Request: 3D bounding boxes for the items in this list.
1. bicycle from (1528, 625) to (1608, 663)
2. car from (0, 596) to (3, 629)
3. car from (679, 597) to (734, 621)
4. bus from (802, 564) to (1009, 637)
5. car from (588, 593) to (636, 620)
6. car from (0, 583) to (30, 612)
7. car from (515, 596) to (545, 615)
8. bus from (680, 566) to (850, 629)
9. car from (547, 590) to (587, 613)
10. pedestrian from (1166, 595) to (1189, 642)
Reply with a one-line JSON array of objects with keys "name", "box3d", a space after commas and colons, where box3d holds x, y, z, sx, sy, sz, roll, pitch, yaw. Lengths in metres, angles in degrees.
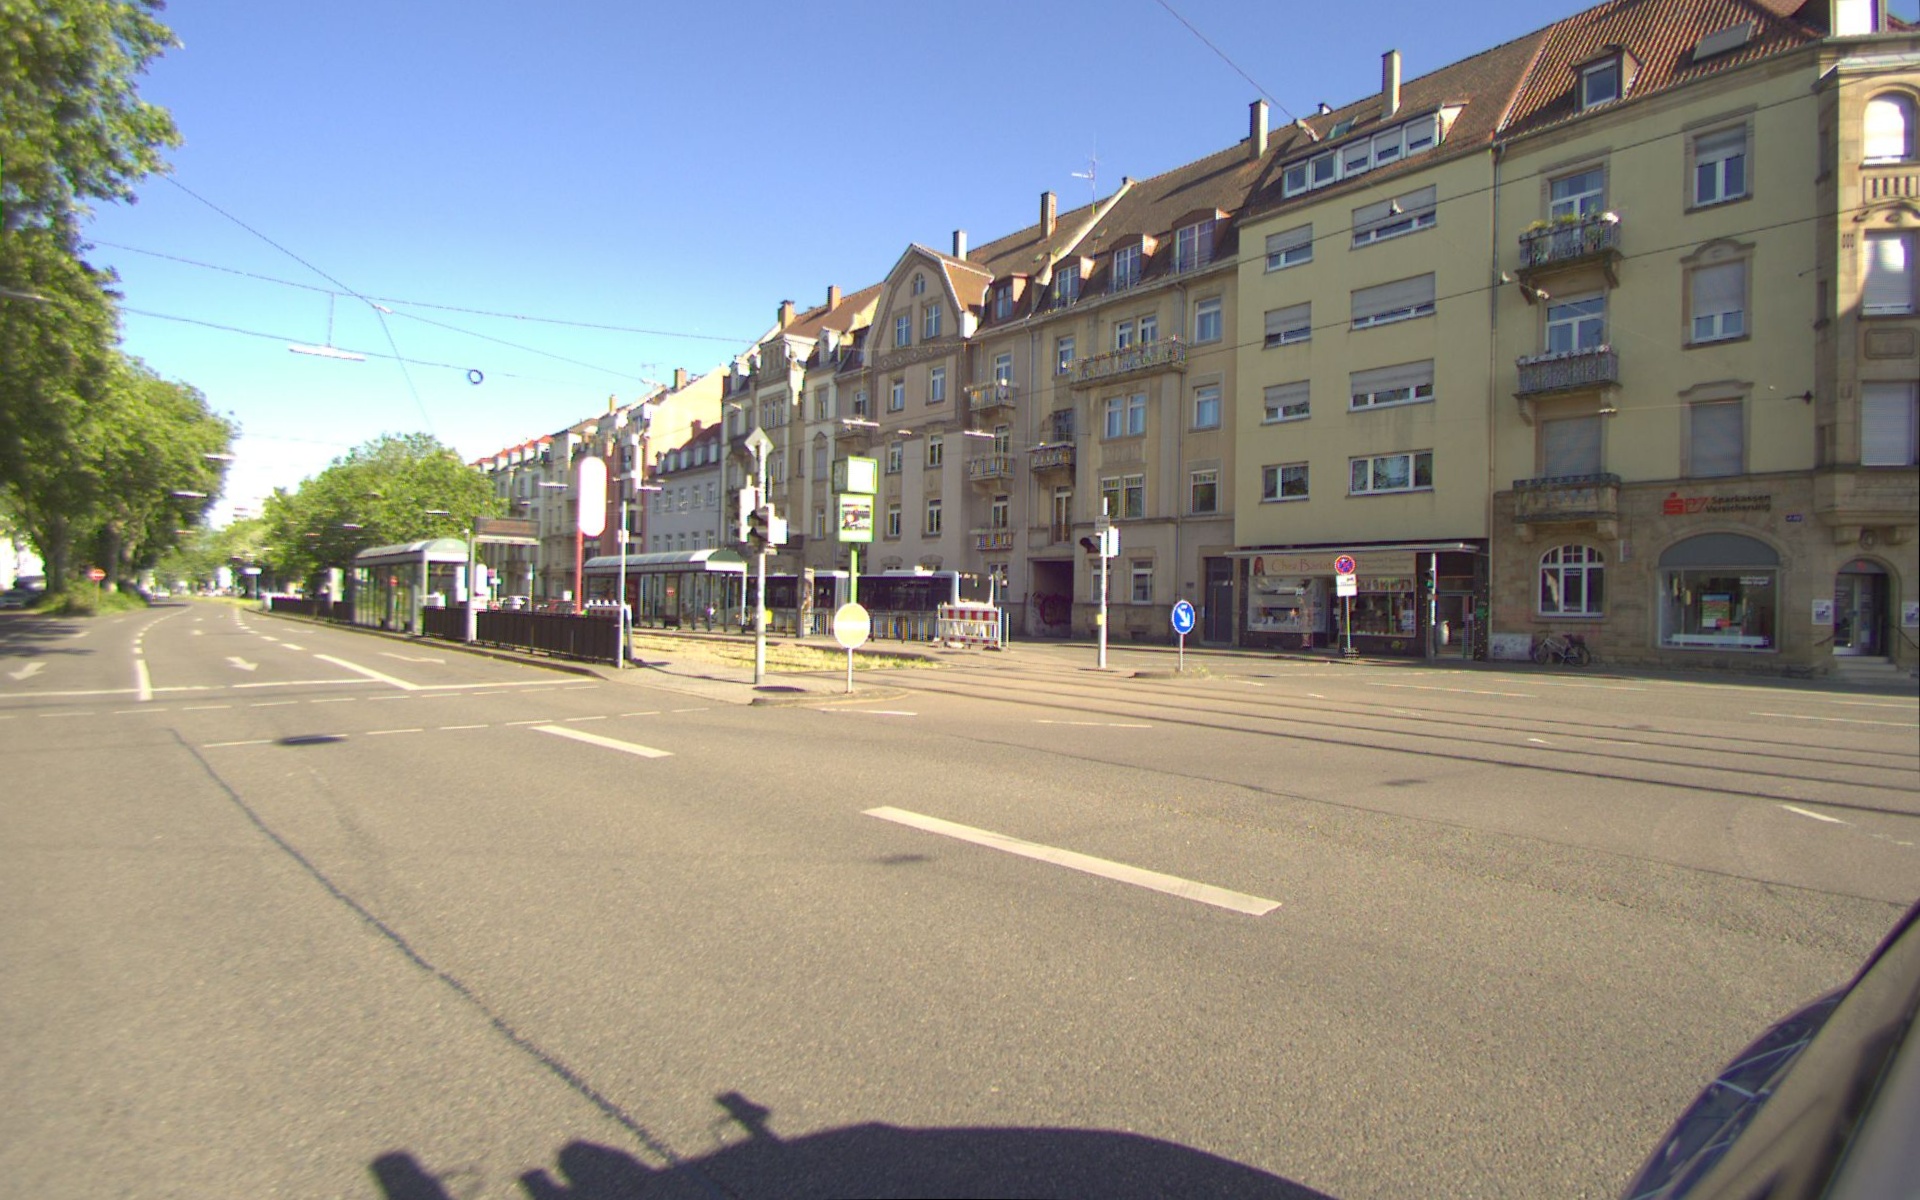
[{"name": "bicycle", "box3d": [17.809, 1.280, 29.667, 0.507, 0.987, 1.951, -1, 1, -39]}, {"name": "car", "box3d": [-41.831, 0.475, 42.166, 1.792, 1.427, 3.890, 2, -3, -28]}, {"name": "car", "box3d": [-16.383, 0.581, 65.379, 1.721, 1.438, 3.992, 3, -1, -42]}, {"name": "bus", "box3d": [-2.794, -0.003, 47.257, 10.644, 3.072, 3.084, 1, -1, 43]}, {"name": "car", "box3d": [-26.716, 0.472, 77.652, 1.995, 1.919, 3.993, 3, -1, -42]}, {"name": "car", "box3d": [-70.895, -0.171, 75.467, 1.964, 2.040, 3.993, 2, -3, -40]}, {"name": "car", "box3d": [-38.953, 0.529, 91.698, 1.533, 1.627, 3.571, 3, -1, -39]}, {"name": "bus", "box3d": [-10.716, -0.151, 54.526, 10.825, 3.055, 3.047, 1, -1, 43]}, {"name": "car", "box3d": [-32.825, 0.081, 84.544, 1.769, 1.813, 3.993, 3, -1, -42]}, {"name": "pedestrian", "box3d": [8.629, 0.734, 40.172, 0.695, 1.826, 0.521, 2, -1, -36]}]
